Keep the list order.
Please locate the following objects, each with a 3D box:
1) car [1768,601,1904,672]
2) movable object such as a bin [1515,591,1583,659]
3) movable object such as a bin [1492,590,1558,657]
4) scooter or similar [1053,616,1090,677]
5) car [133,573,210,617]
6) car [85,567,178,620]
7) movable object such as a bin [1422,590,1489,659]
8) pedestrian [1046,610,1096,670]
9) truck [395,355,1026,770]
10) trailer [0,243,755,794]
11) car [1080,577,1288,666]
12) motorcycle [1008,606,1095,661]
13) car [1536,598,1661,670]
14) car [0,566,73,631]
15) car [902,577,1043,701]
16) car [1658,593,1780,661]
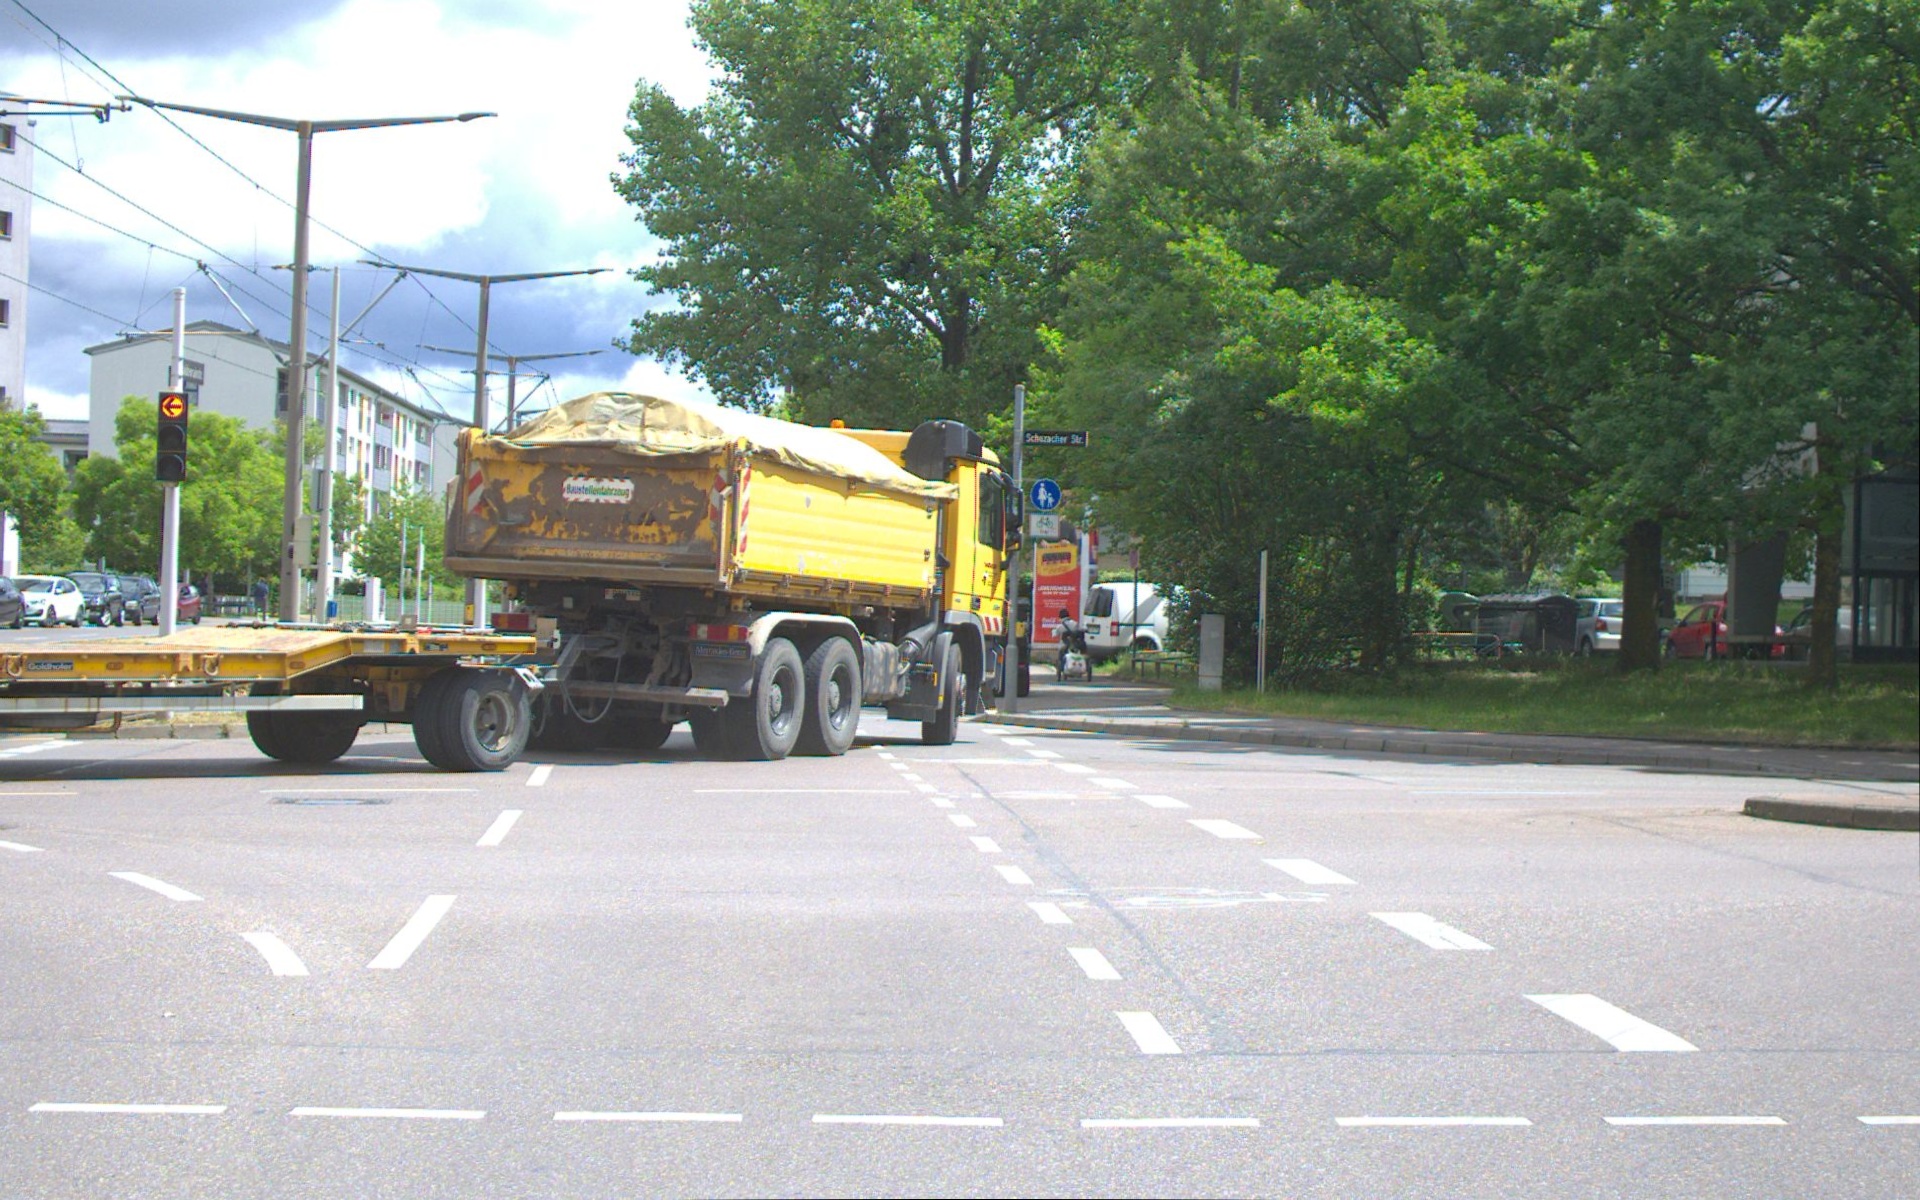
[{"bbox_3d":[19.429,0.787,76.362,1.743,1.465,4.001,1,1,-4],"label":"car"},{"bbox_3d":[12.635,0.531,73.804,1.115,1.425,1.286,1,0,-6],"label":"movable object such as a bin"},{"bbox_3d":[12.422,0.511,75.651,1.115,1.425,1.286,1,0,-6],"label":"movable object such as a bin"},{"bbox_3d":[1.974,0.821,61.103,0.476,1.051,0.897,1,0,-9],"label":"scooter or similar"},{"bbox_3d":[-26.762,-0.183,116.738,1.613,1.421,3.422,1,1,4],"label":"car"},{"bbox_3d":[-26.533,-0.212,110.172,1.993,1.642,4.100,1,1,0],"label":"car"},{"bbox_3d":[10.525,0.511,73.035,1.115,1.425,1.286,1,0,-6],"label":"movable object such as a bin"},{"bbox_3d":[1.967,0.709,61.091,0.775,1.051,0.547,1,0,-9],"label":"pedestrian"},{"bbox_3d":[-2.007,-0.344,31.753,2.836,3.319,7.976,1,1,19],"label":"truck"},{"bbox_3d":[-7.168,-0.577,24.957,11.576,3.760,3.060,0,1,-38],"label":"trailer"},{"bbox_3d":[4.741,0.451,72.786,3.986,1.816,1.811,1,1,-26],"label":"car"},{"bbox_3d":[2.043,0.740,76.531,1.794,1.206,0.712,1,0,-25],"label":"motorcycle"},{"bbox_3d":[14.199,0.736,76.590,1.940,1.485,4.000,1,1,-1],"label":"car"},{"bbox_3d":[-25.972,-0.049,95.204,1.993,1.657,4.100,3,0,-5],"label":"car"},{"bbox_3d":[0.144,0.557,52.083,1.643,1.756,4.570,1,1,-6],"label":"car"},{"bbox_3d":[16.985,0.588,77.098,1.743,1.438,4.000,1,1,-1],"label":"car"}]
